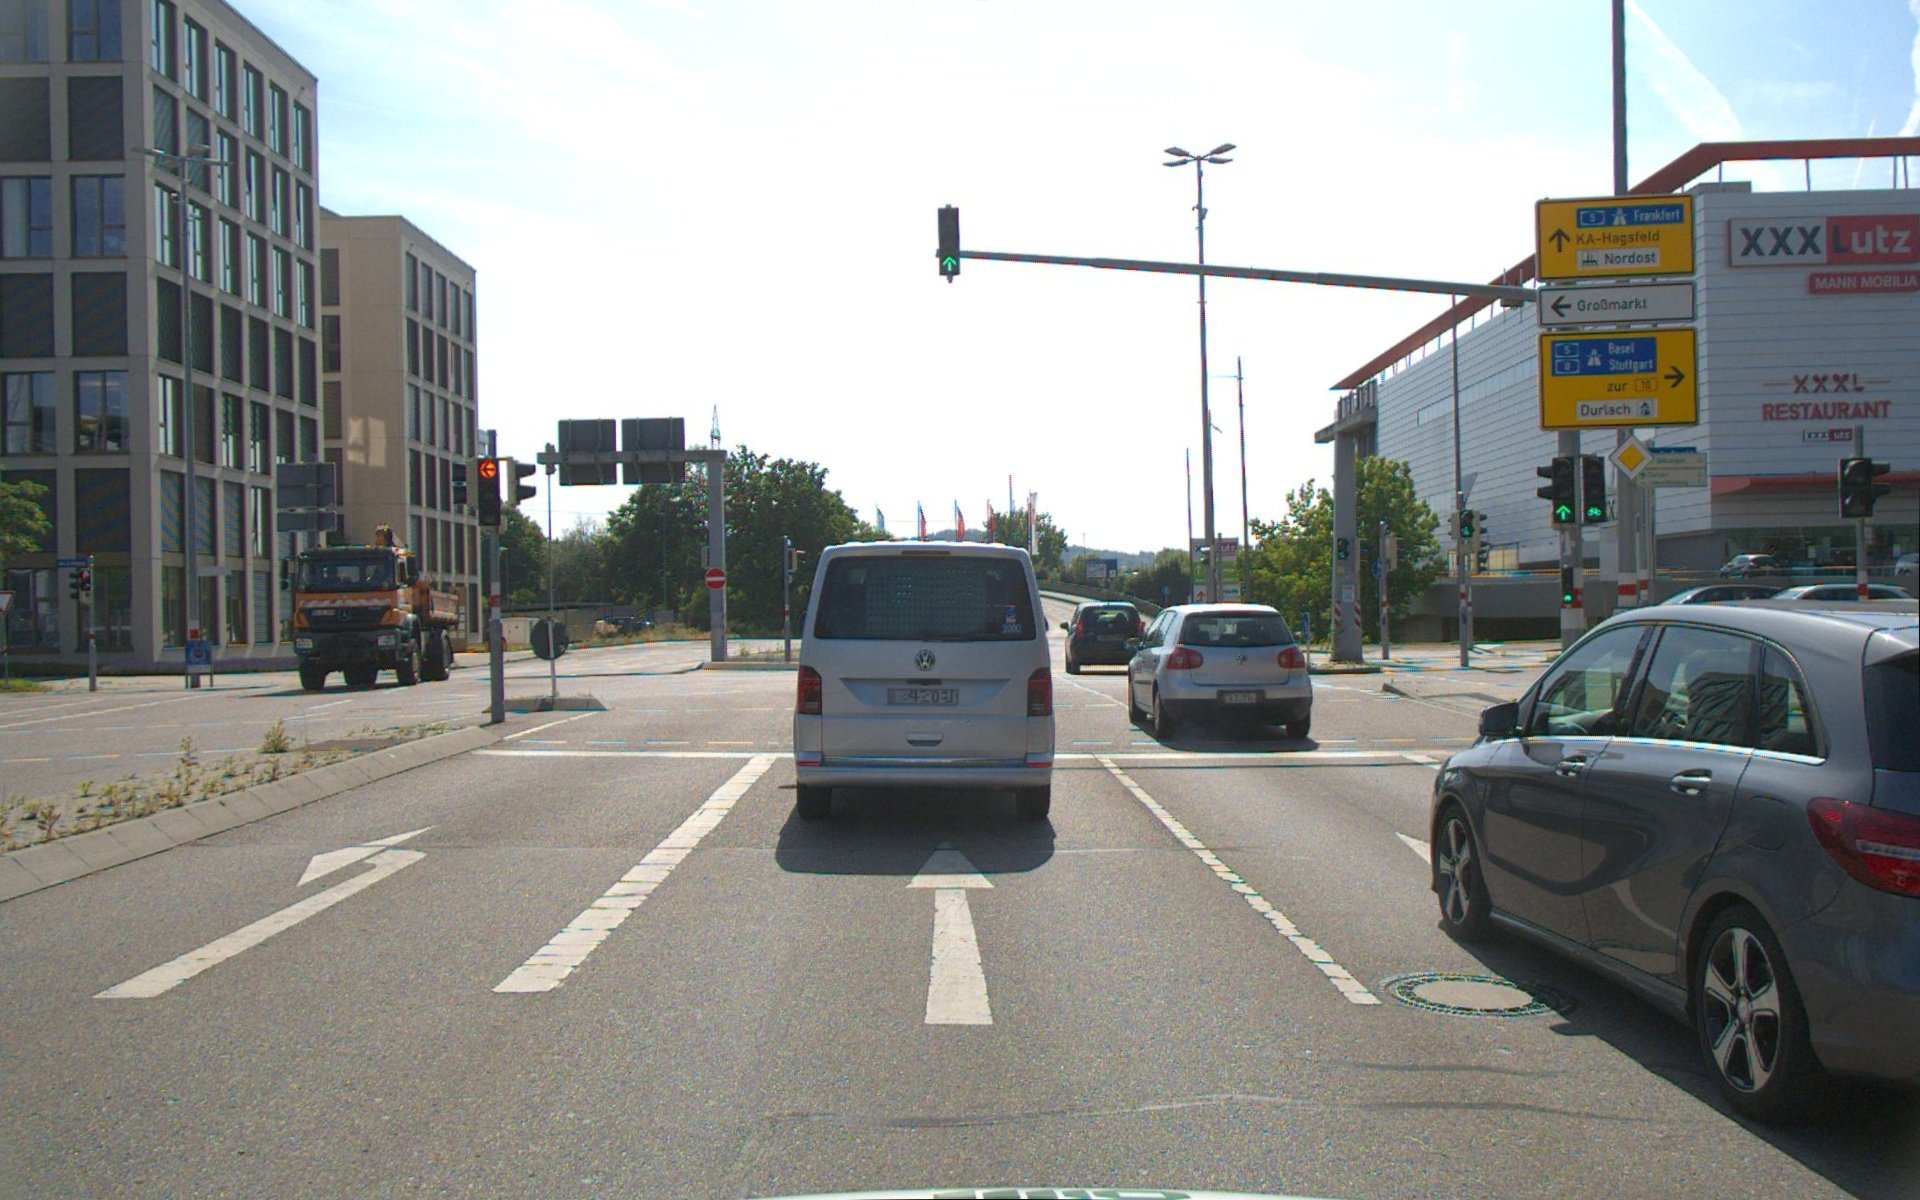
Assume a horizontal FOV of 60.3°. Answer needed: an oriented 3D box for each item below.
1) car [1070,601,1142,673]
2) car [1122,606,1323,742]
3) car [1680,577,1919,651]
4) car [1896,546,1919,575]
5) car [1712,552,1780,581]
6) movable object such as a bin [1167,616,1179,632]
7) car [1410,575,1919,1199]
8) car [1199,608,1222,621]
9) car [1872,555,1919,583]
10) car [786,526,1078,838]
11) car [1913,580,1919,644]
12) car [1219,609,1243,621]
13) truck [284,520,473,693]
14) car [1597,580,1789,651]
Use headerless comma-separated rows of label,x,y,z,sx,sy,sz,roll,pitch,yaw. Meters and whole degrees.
car,3.182,0.777,36.370,1.498,1.506,3.597,0,0,4
car,2.966,0.794,19.364,1.633,1.439,3.680,0,0,-2
car,18.723,0.322,36.698,4.618,1.450,1.959,-2,-2,2
car,49.341,-2.028,83.573,1.762,1.444,4.007,-1,0,-1
car,42.143,-1.781,88.818,1.734,1.444,4.201,-1,0,2
movable object such as a bin,15.657,1.743,121.451,0.793,1.133,1.182,-1,-1,4
car,3.155,0.717,6.157,1.738,1.566,4.136,0,0,-2
car,32.063,1.842,211.908,1.849,1.546,3.991,1,-1,-9
car,51.949,-1.690,90.610,1.651,1.444,3.913,-1,0,-3
car,-0.206,0.542,12.859,1.878,2.010,4.296,0,0,-1
car,25.109,0.199,39.133,3.944,1.535,1.909,-2,-2,2
car,34.726,1.917,211.971,1.957,1.445,3.991,1,-1,-9
truck,-13.954,0.166,40.311,2.694,3.744,7.566,-2,0,-7
car,17.557,0.365,39.741,3.803,1.586,1.809,-1,-1,3
